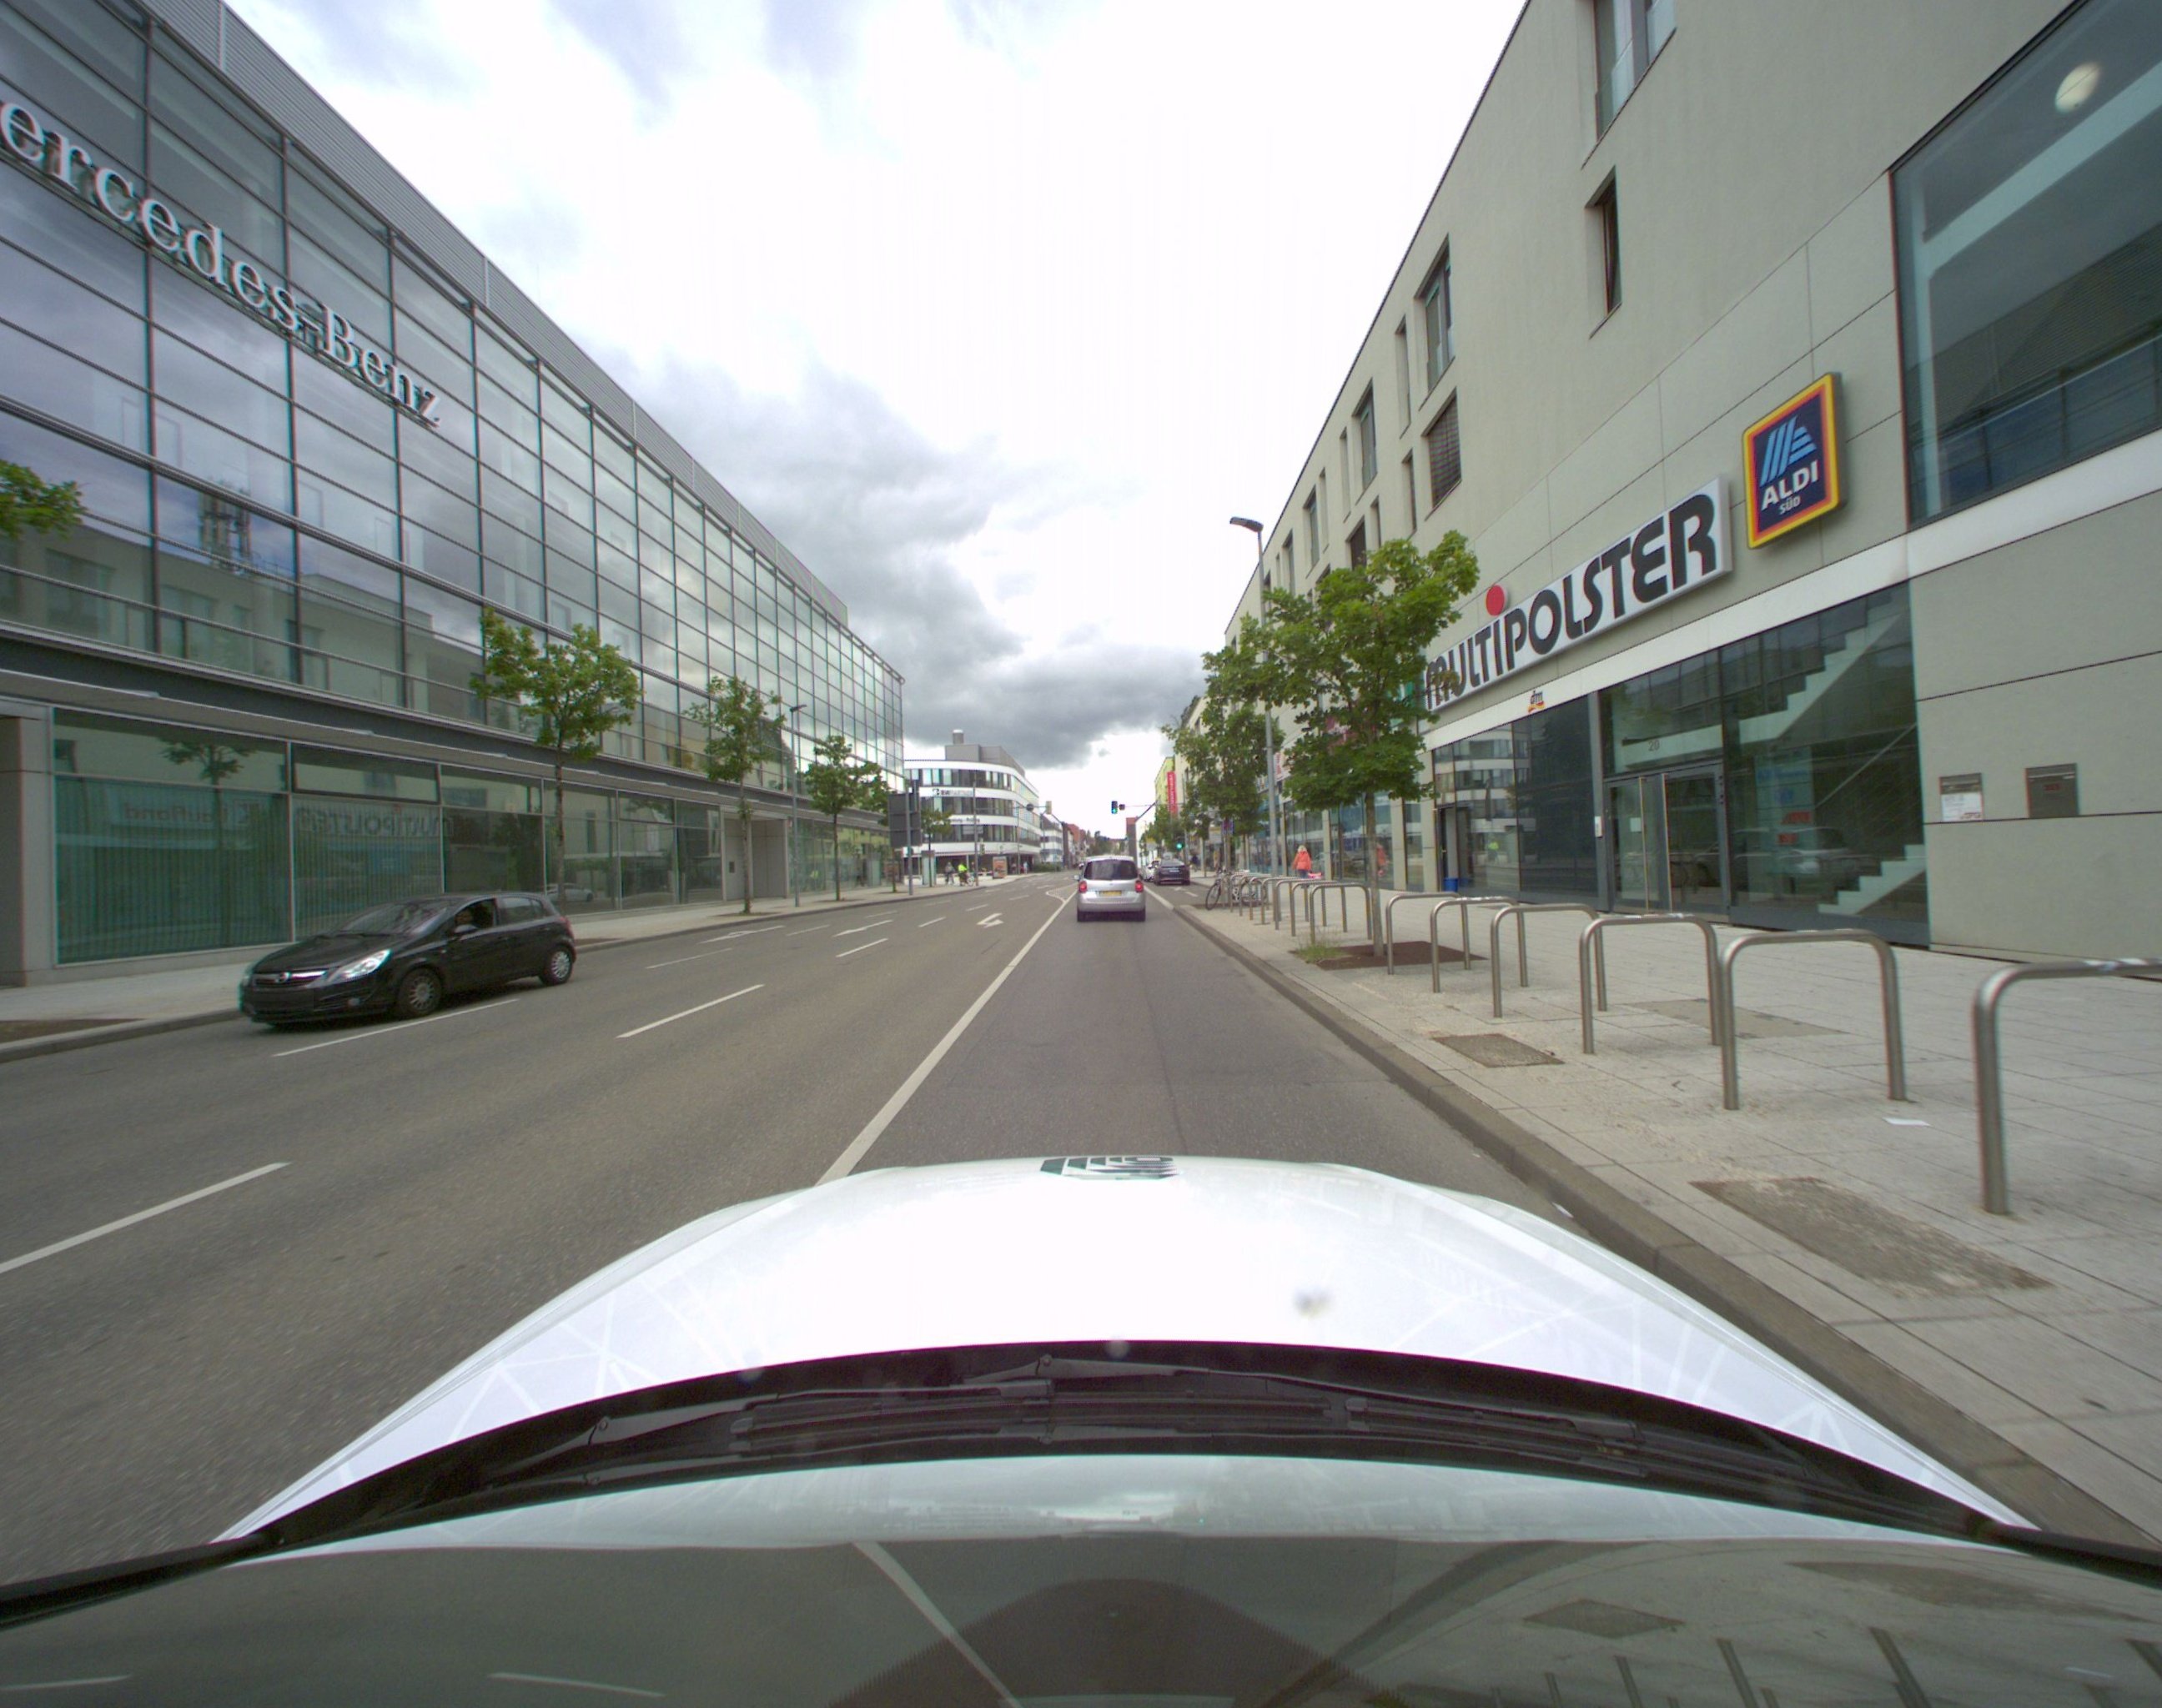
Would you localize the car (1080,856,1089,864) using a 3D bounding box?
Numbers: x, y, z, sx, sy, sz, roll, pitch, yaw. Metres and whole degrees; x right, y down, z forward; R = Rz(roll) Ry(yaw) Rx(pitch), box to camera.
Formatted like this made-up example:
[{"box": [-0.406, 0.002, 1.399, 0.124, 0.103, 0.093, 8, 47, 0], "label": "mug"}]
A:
[{"box": [0.886, 1.468, 205.027, 2.162, 2.013, 4.260, -3, 0, 2], "label": "car"}]

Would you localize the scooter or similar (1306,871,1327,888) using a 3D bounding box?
[{"box": [8.322, 0.890, 28.794, 0.548, 0.546, 0.642, -6, 0, 2], "label": "scooter or similar"}]

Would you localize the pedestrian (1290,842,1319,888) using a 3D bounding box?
[{"box": [8.120, 0.389, 29.637, 0.708, 1.574, 0.813, -5, 0, 2], "label": "pedestrian"}]

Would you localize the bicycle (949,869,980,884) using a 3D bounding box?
[{"box": [-8.588, 1.651, 59.936, 1.013, 1.018, 3.096, 0, -1, -35], "label": "bicycle"}]

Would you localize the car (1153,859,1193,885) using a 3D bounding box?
[{"box": [5.049, 0.965, 44.975, 1.870, 1.335, 4.002, 0, 0, 2], "label": "car"}]

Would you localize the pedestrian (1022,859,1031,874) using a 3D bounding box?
[{"box": [-6.924, 1.628, 104.289, 0.957, 1.833, 1.251, -3, 0, 2], "label": "pedestrian"}]

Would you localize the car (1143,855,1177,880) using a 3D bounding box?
[{"box": [4.970, 0.824, 51.552, 1.870, 1.509, 4.002, 0, 0, 2], "label": "car"}]

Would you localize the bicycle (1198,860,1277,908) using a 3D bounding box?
[{"box": [3.955, 0.761, 20.704, 1.819, 1.074, 0.752, -4, 0, 0], "label": "bicycle"}]

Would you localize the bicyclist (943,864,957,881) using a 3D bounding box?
[{"box": [-10.355, 1.473, 64.271, 0.832, 1.327, 0.645, -2, 0, -31], "label": "bicyclist"}]

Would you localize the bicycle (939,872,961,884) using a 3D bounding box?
[{"box": [-10.339, 1.876, 64.264, 0.832, 0.898, 2.500, -2, 0, -31], "label": "bicycle"}]

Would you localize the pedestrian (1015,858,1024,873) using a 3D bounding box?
[{"box": [-7.368, 1.367, 97.674, 0.957, 1.833, 1.251, -3, 0, 2], "label": "pedestrian"}]

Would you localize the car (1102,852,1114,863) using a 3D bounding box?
[{"box": [5.105, 0.643, 155.173, 2.162, 2.013, 4.260, -3, 0, 2], "label": "car"}]

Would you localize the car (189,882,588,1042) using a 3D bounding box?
[{"box": [-8.600, 1.224, 10.691, 1.654, 1.480, 4.002, -3, 0, 2], "label": "car"}]

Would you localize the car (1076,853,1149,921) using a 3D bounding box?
[{"box": [0.722, 0.764, 20.702, 1.664, 1.554, 3.641, 0, 0, -1], "label": "car"}]

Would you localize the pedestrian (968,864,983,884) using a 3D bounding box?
[{"box": [-10.103, 1.926, 77.974, 1.246, 1.833, 0.961, -3, 0, -9], "label": "pedestrian"}]

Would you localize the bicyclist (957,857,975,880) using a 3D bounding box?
[{"box": [-8.432, 1.034, 59.726, 1.013, 1.660, 0.923, 0, -1, -36], "label": "bicyclist"}]
